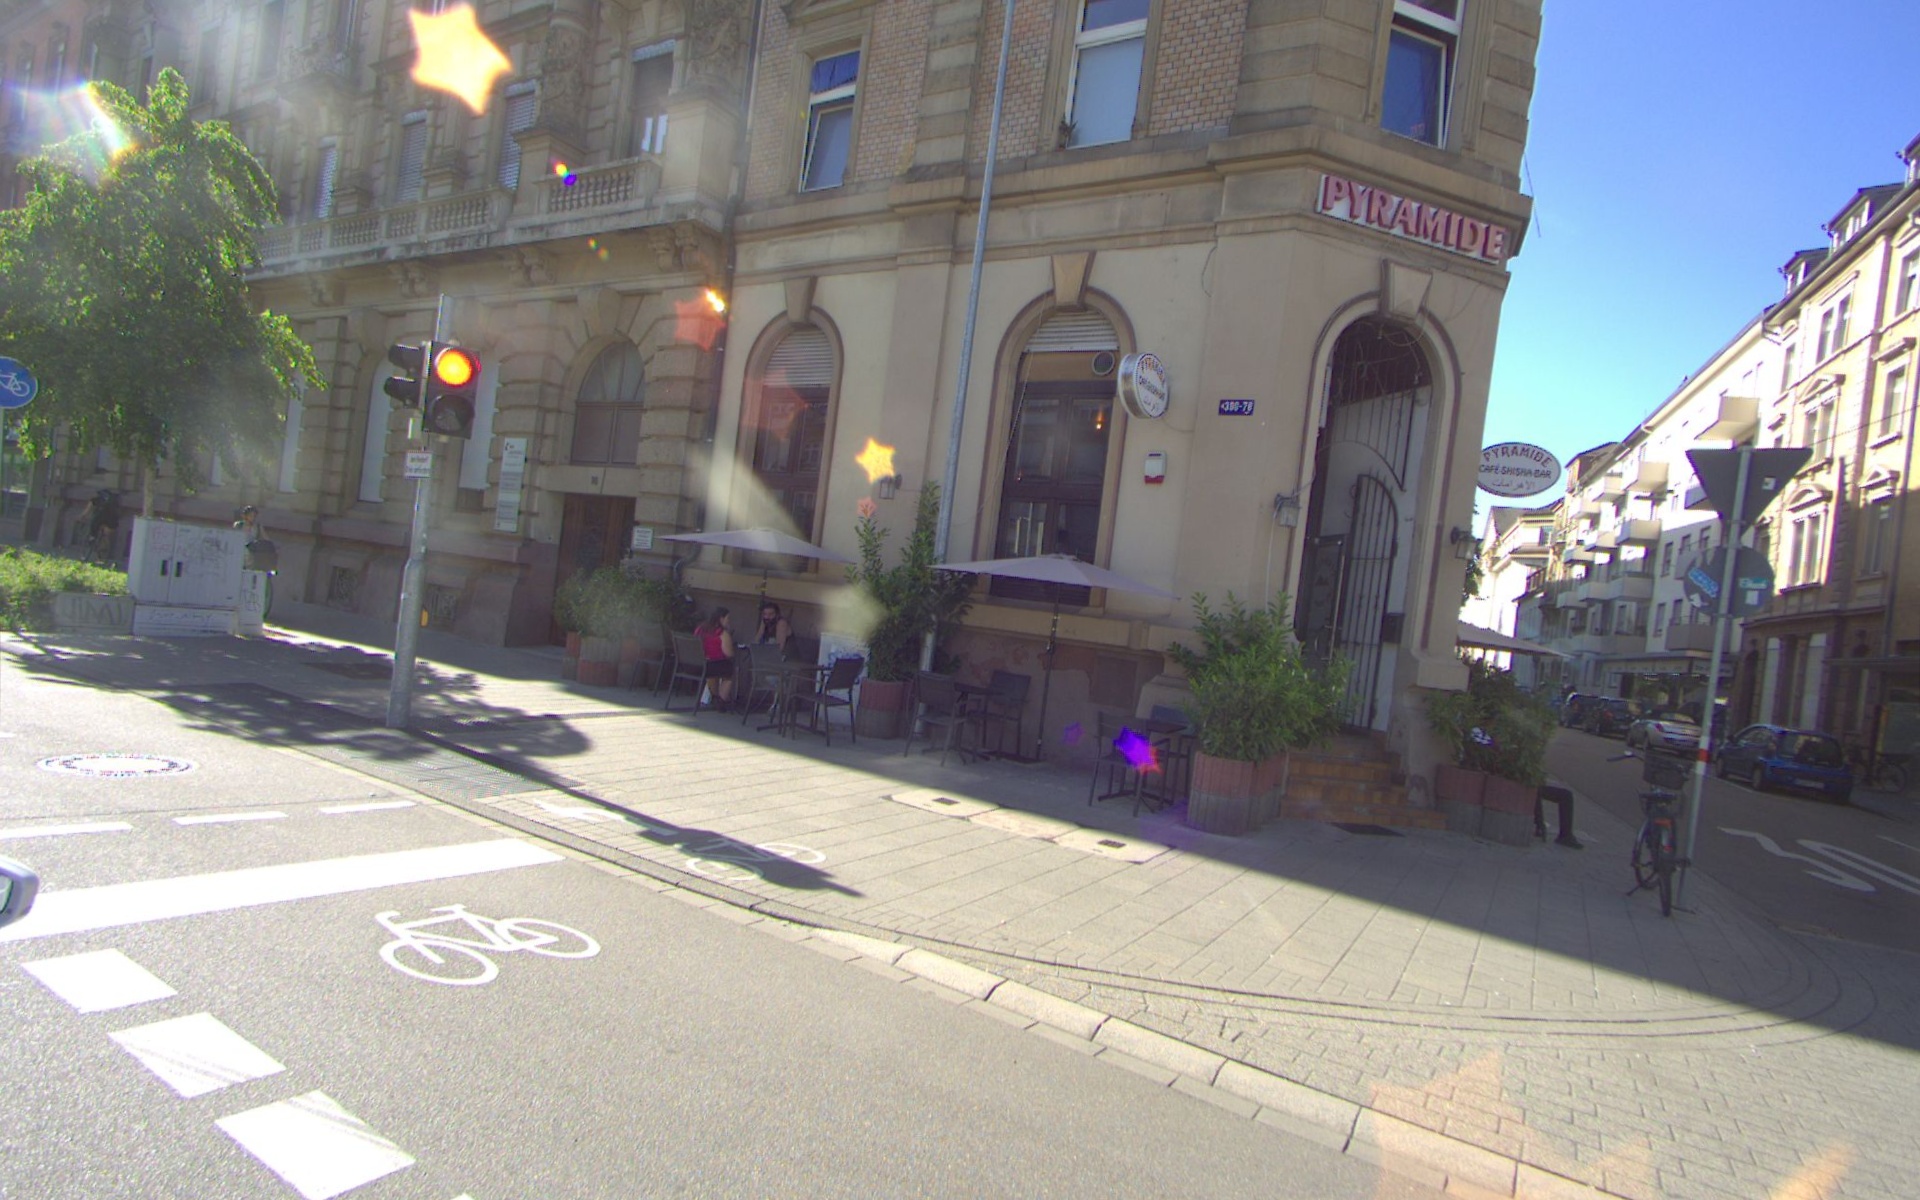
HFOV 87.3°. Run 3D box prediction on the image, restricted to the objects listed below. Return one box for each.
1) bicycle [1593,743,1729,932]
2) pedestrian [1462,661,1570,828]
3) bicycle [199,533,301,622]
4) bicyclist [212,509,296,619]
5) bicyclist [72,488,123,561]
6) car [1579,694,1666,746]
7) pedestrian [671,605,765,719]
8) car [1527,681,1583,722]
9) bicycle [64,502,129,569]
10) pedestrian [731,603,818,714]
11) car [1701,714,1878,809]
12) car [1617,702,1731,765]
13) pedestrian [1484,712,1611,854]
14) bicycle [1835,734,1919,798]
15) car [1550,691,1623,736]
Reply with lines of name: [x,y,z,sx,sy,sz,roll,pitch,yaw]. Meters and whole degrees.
bicycle: [5.699,1.850,8.201,0.643,1.186,1.818,11,2,35]
pedestrian: [6.555,1.675,11.912,0.852,1.781,0.909,7,-1,25]
bicycle: [-11.612,-0.376,16.435,1.868,1.237,0.584,7,0,32]
bicyclist: [-11.540,-0.587,16.440,0.944,1.659,0.667,7,1,31]
bicyclist: [-19.549,-1.715,22.811,0.788,1.552,0.660,7,5,33]
car: [24.073,4.313,36.707,1.769,1.449,3.773,7,-1,22]
pedestrian: [-2.750,0.695,11.452,0.624,1.193,0.706,7,2,31]
car: [30.118,5.104,51.011,1.769,1.685,3.772,7,-1,23]
bicycle: [-19.665,-1.481,22.899,1.869,1.349,0.615,7,5,33]
pedestrian: [-2.259,0.705,12.265,0.624,1.252,0.706,7,2,31]
car: [18.516,3.541,22.696,1.769,1.437,4.000,9,0,22]
car: [21.818,4.036,30.907,1.769,1.350,4.000,9,0,22]
pedestrian: [6.026,1.843,10.376,0.917,1.228,0.852,7,-1,25]
bicycle: [22.140,3.959,24.025,0.621,1.192,2.014,7,0,1]
car: [25.854,4.651,41.651,1.769,1.449,3.773,7,-1,22]
